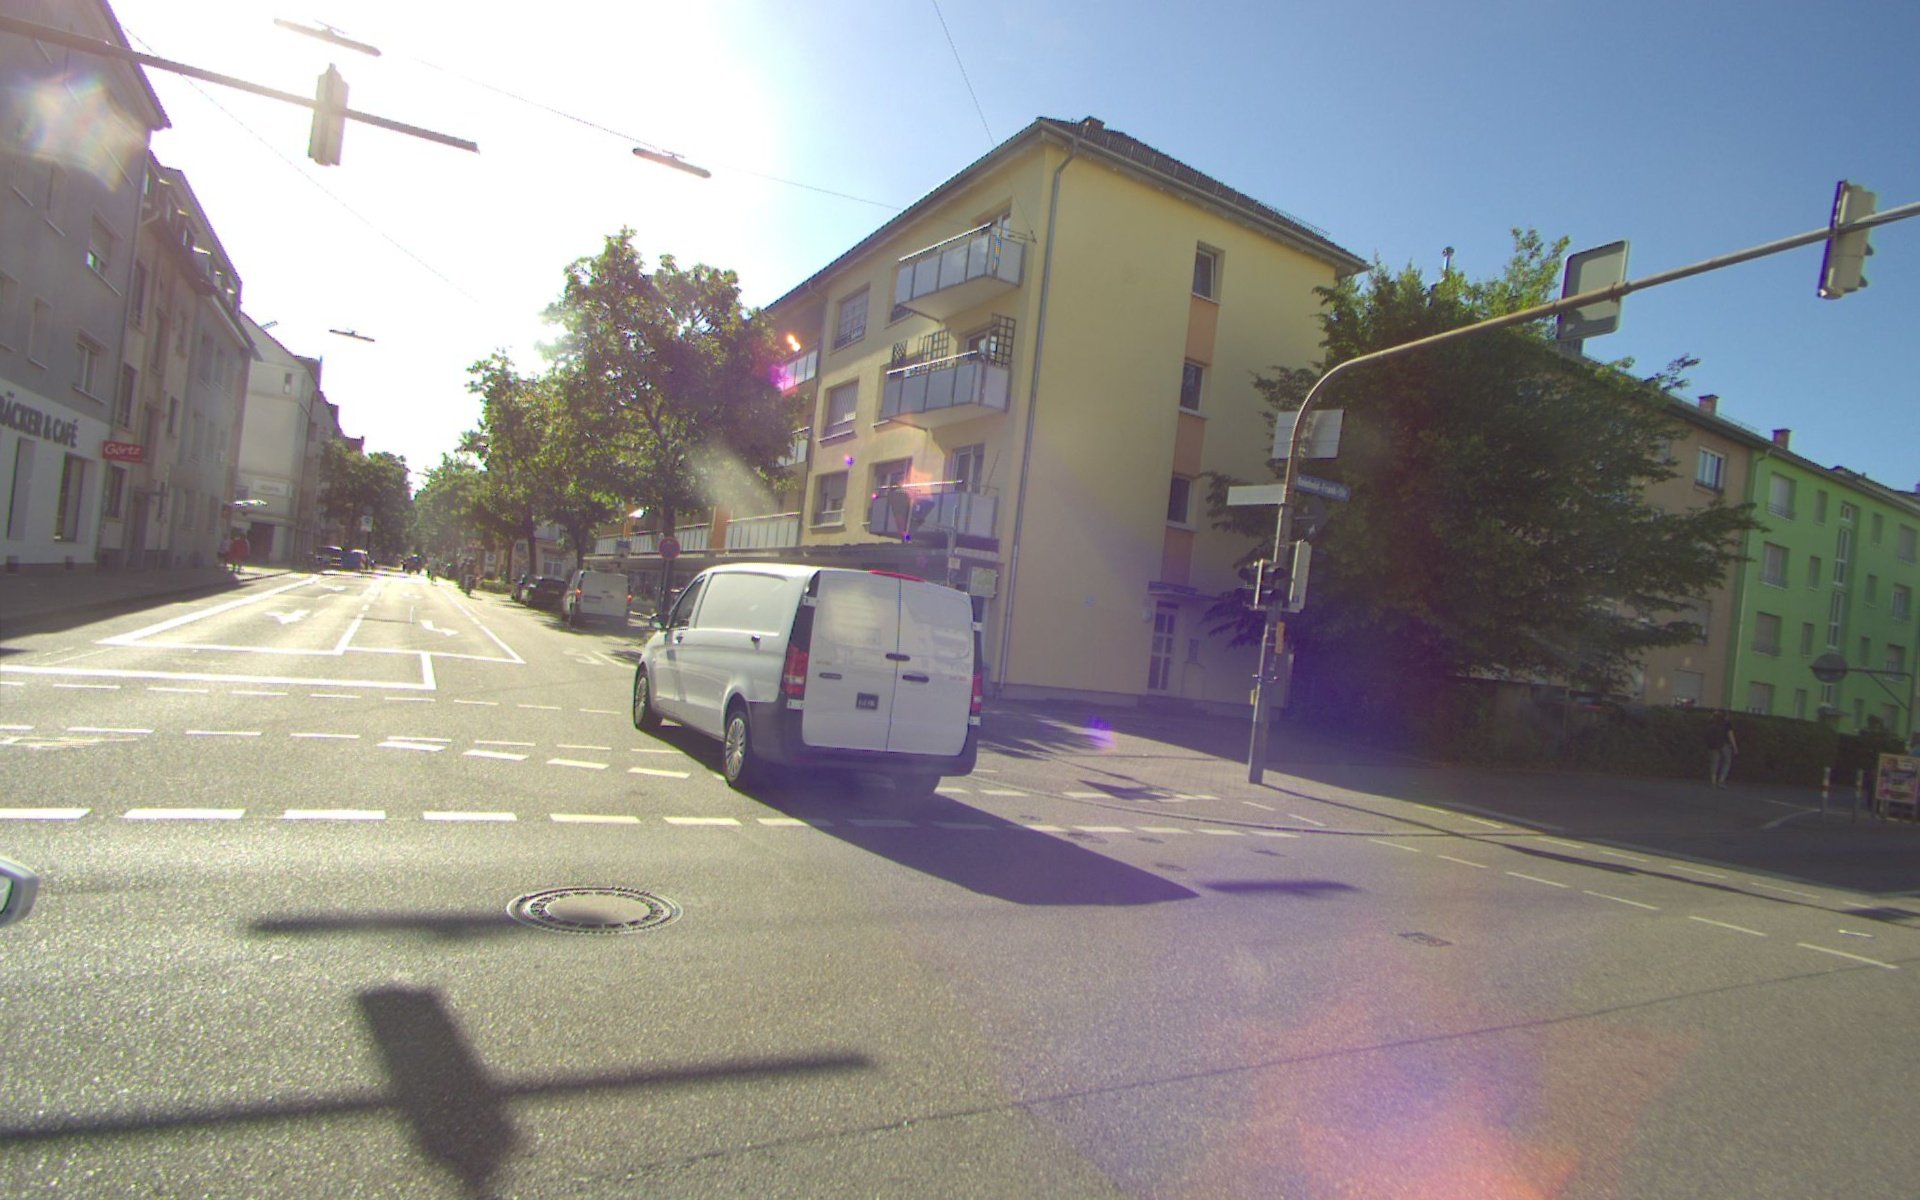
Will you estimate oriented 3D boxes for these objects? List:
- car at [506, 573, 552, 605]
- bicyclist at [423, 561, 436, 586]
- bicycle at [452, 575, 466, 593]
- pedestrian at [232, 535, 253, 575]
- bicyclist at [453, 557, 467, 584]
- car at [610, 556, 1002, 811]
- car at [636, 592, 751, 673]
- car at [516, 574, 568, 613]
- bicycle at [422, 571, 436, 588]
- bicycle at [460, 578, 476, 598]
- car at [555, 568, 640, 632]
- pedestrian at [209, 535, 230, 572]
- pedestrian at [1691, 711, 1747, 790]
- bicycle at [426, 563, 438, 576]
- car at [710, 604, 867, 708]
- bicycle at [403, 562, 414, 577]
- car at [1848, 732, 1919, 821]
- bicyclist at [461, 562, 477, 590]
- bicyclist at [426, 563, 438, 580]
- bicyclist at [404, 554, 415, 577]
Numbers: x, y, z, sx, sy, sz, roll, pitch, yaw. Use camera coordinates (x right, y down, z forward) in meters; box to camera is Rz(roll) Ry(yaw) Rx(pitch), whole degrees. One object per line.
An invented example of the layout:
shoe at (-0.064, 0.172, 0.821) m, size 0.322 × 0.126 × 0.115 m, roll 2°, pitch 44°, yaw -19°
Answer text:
car at (-21.859, -0.565, 50.977) m, size 1.699 × 1.330 × 3.356 m, roll 7°, pitch -1°, yaw -29°
bicyclist at (-31.524, -1.573, 59.774) m, size 0.584 × 1.399 × 0.817 m, roll 7°, pitch 0°, yaw -29°
bicycle at (-27.146, -0.864, 54.470) m, size 0.542 × 0.876 × 1.863 m, roll 7°, pitch -1°, yaw -28°
pedestrian at (-30.033, -1.880, 42.104) m, size 0.573 × 1.602 × 0.701 m, roll 6°, pitch 0°, yaw -35°
bicyclist at (-27.070, -1.588, 54.475) m, size 0.542 × 1.399 × 0.817 m, roll 6°, pitch 0°, yaw -29°
car at (-1.802, 0.621, 9.784) m, size 1.954 × 1.832 × 4.795 m, roll 7°, pitch -1°, yaw -31°
car at (-6.282, 0.712, 23.503) m, size 1.699 × 1.501 × 3.356 m, roll 7°, pitch -1°, yaw -29°
car at (-19.139, -0.315, 46.027) m, size 1.699 × 1.501 × 3.356 m, roll 7°, pitch -1°, yaw -29°
bicycle at (-31.525, -1.223, 59.708) m, size 0.615 × 0.876 × 1.863 m, roll 7°, pitch -1°, yaw -28°
bicycle at (-23.623, -0.589, 48.303) m, size 0.542 × 0.876 × 1.863 m, roll 7°, pitch -1°, yaw -28°
car at (-12.791, -0.039, 35.313) m, size 2.029 × 1.869 × 4.552 m, roll 7°, pitch -1°, yaw -28°
pedestrian at (-30.784, -1.935, 41.834) m, size 0.573 × 1.485 × 0.696 m, roll 7°, pitch 0°, yaw -35°
pedestrian at (16.461, 3.258, 21.828) m, size 0.564 × 1.605 × 0.643 m, roll 6°, pitch 0°, yaw -23°
bicycle at (-40.774, -2.354, 77.654) m, size 0.686 × 0.876 × 1.863 m, roll 7°, pitch -1°, yaw -28°
car at (-3.269, 0.985, 18.713) m, size 1.699 × 1.501 × 3.454 m, roll 7°, pitch -1°, yaw -29°
bicycle at (-43.006, -2.377, 78.488) m, size 0.627 × 1.054 × 1.782 m, roll 6°, pitch 0°, yaw -30°
car at (20.787, 3.815, 21.097) m, size 3.956 × 1.593 × 1.985 m, roll 7°, pitch -1°, yaw -30°
bicyclist at (-23.499, -1.144, 48.179) m, size 0.542 × 1.277 × 0.797 m, roll 7°, pitch 0°, yaw -29°
bicyclist at (-40.879, -2.217, 77.831) m, size 0.686 × 1.208 × 0.591 m, roll 7°, pitch 0°, yaw -29°
bicyclist at (-42.798, -2.670, 78.170) m, size 0.627 × 1.689 × 1.042 m, roll 6°, pitch 0°, yaw -30°
